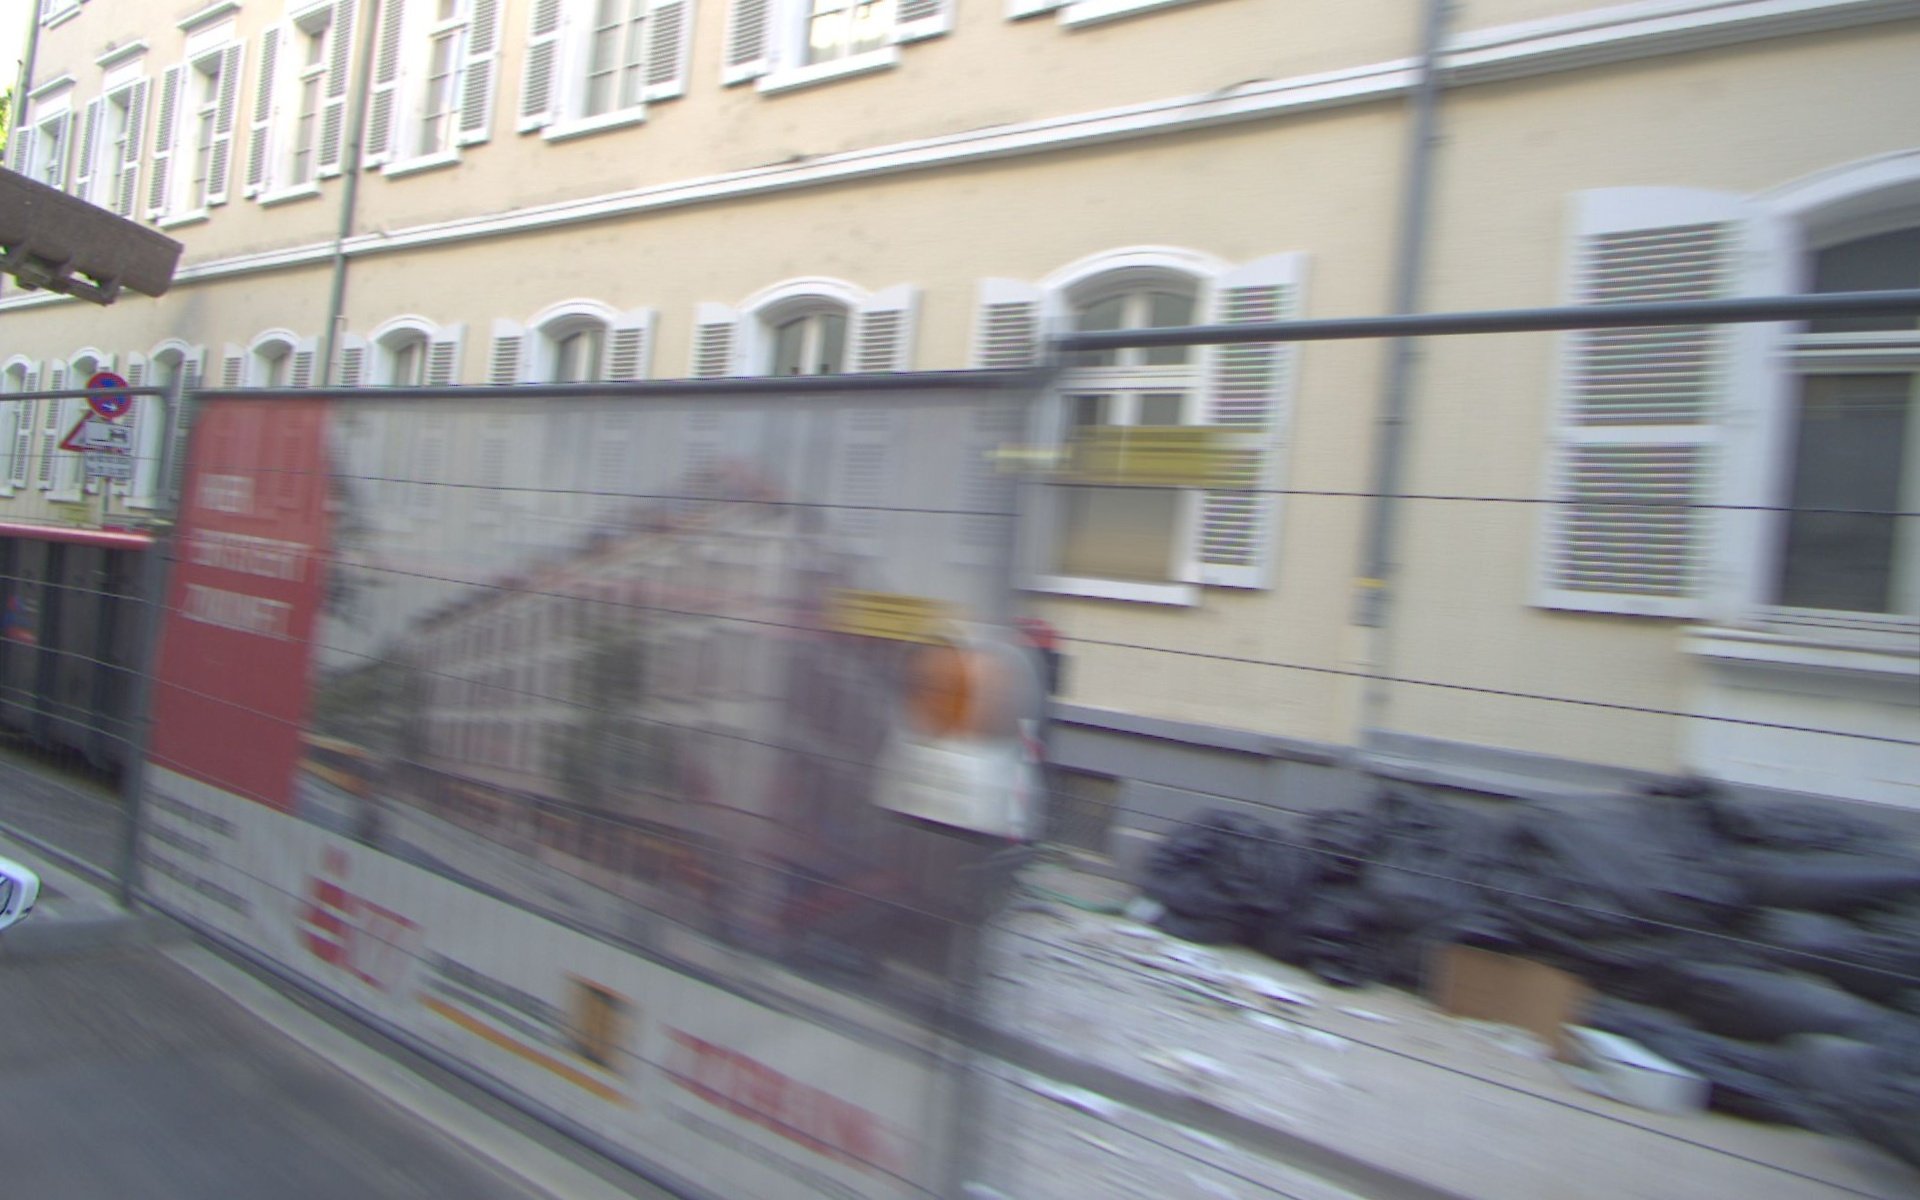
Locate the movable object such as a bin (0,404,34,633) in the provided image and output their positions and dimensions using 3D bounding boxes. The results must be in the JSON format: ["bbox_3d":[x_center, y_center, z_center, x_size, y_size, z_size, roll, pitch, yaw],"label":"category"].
[{"bbox_3d":[-15.194,-1.374,13.205,5.469,2.907,2.641,6,-1,28],"label":"movable object such as a bin"}]

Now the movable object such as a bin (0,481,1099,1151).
[{"bbox_3d":[-3.150,0.473,5.842,7.169,1.684,2.897,6,-1,29],"label":"movable object such as a bin"}]
